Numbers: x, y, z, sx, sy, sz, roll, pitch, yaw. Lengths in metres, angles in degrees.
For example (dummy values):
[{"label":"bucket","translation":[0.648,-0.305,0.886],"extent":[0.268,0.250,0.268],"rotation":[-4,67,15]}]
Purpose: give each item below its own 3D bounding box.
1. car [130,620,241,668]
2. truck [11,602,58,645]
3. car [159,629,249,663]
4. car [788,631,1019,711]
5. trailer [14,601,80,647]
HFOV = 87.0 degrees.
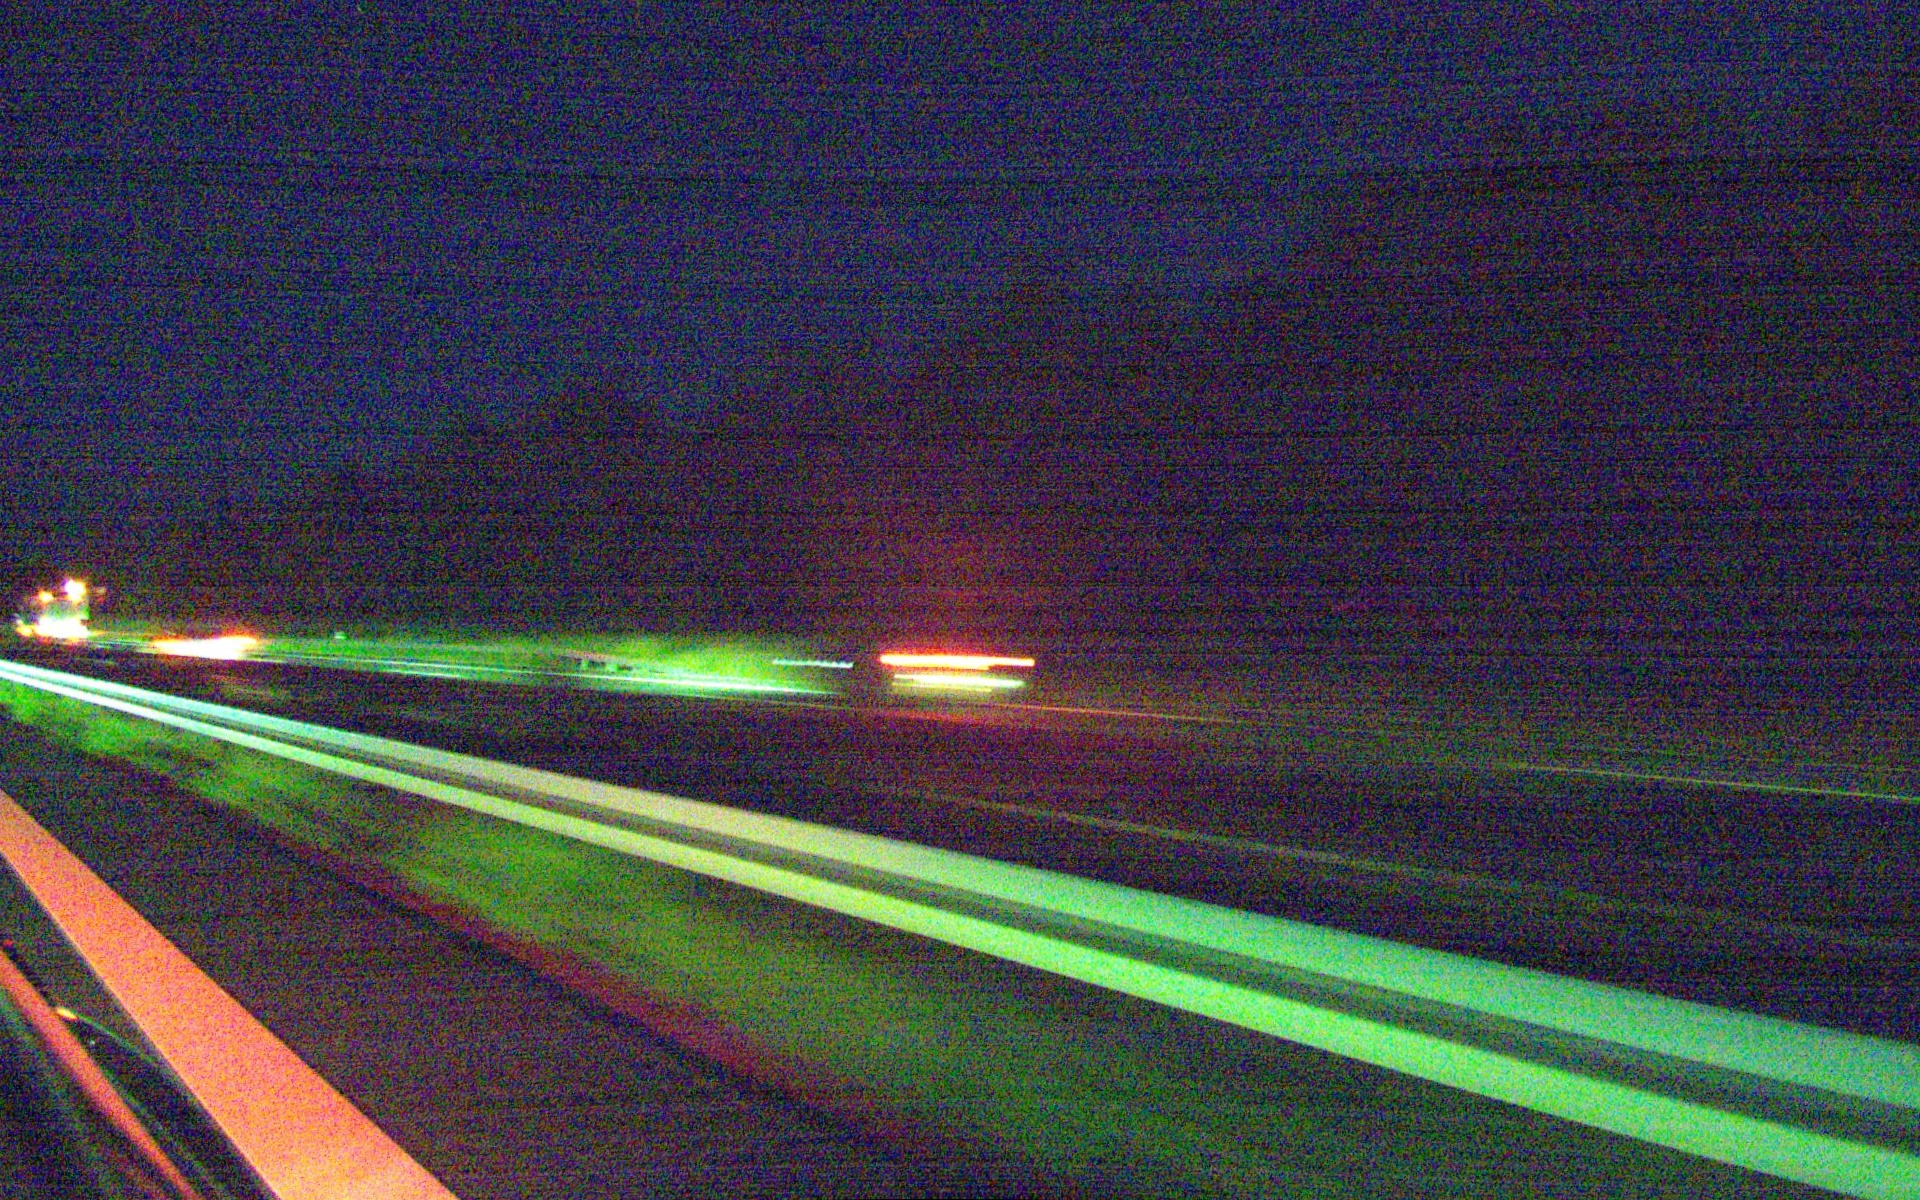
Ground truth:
[{"label":"car","translation":[-25.596,1.452,33.379],"extent":[4.898,1.473,1.972],"rotation":[-1,-4,42]},{"label":"truck","translation":[-94.015,2.371,102.767],"extent":[5.822,4.244,2.725],"rotation":[-1,-3,40]},{"label":"car","translation":[-33.753,2.033,45.125],"extent":[5.702,1.405,1.973],"rotation":[-1,-4,41]},{"label":"car","translation":[-1.275,1.407,21.178],"extent":[4.797,1.496,1.973],"rotation":[-1,-3,41]},{"label":"trailer","translation":[-88.945,2.322,98.462],"extent":[13.896,4.208,2.830],"rotation":[-1,-3,41]}]
